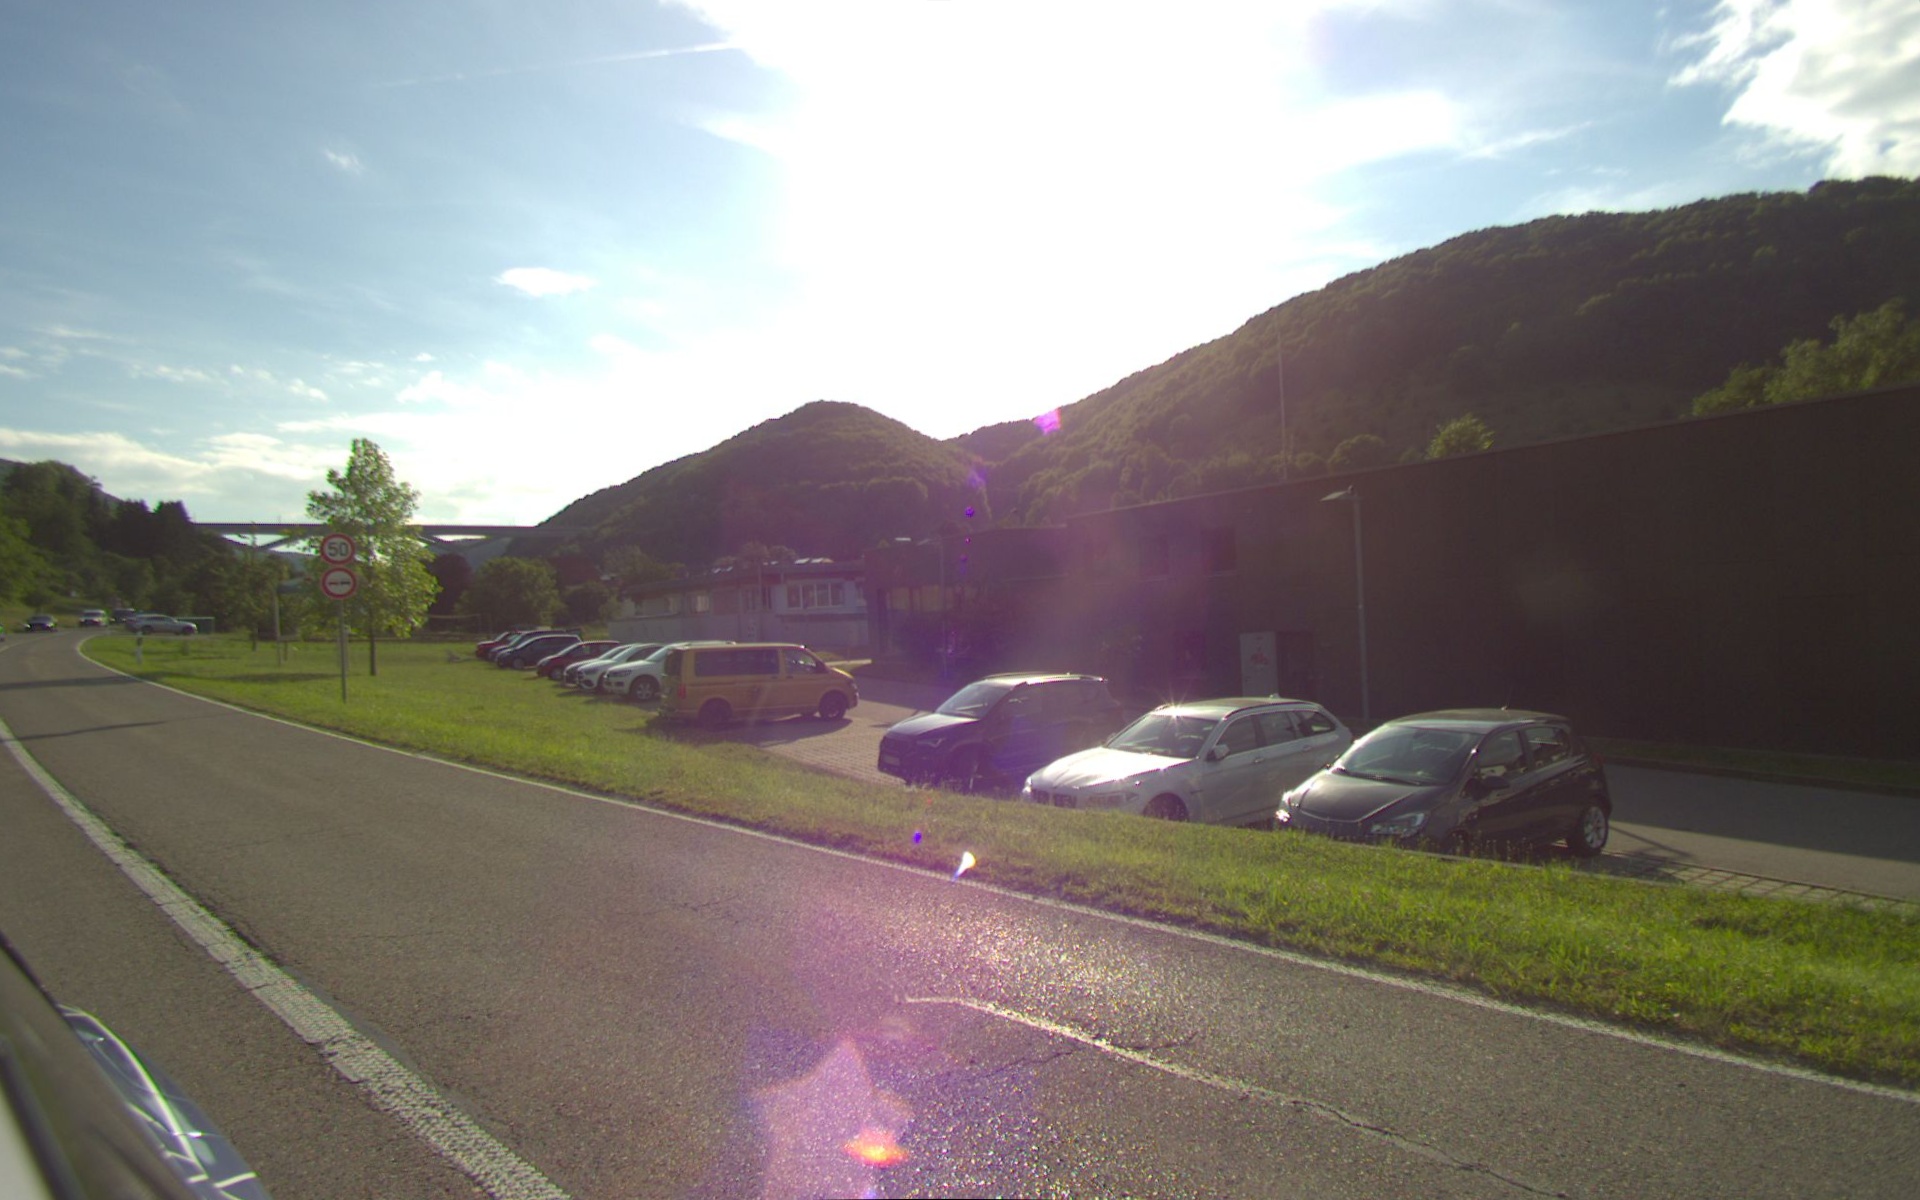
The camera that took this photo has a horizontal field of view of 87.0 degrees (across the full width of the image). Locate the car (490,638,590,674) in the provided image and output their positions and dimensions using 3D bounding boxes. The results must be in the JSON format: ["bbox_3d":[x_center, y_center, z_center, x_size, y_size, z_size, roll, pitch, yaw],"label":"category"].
[{"bbox_3d":[-20.954,2.773,50.515,4.371,1.595,2.006,-1,-1,-32],"label":"car"}]

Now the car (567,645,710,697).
[{"bbox_3d":[-11.047,2.397,34.807,4.371,1.599,2.006,0,-2,-30],"label":"car"}]

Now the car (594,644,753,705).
[{"bbox_3d":[-9.016,2.293,31.943,4.477,1.714,2.006,0,-2,-30],"label":"car"}]

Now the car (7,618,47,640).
[{"bbox_3d":[-77.862,2.428,84.499,1.882,1.698,4.010,0,-2,-34],"label":"car"}]

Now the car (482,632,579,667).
[{"bbox_3d":[-23.213,2.663,54.780,4.595,1.776,2.006,0,-2,-32],"label":"car"}]

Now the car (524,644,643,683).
[{"bbox_3d":[-15.575,2.586,41.909,4.370,1.463,2.006,0,-2,-30],"label":"car"}]

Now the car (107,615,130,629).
[{"bbox_3d":[-100.393,2.604,120.772,1.652,1.659,3.355,-1,-1,-33],"label":"car"}]

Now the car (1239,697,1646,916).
[{"bbox_3d":[4.924,1.888,10.236,3.932,1.546,1.839,0,-2,-31],"label":"car"}]

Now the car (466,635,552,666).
[{"bbox_3d":[-26.334,2.914,59.104,4.371,1.733,2.006,0,-2,-32],"label":"car"}]

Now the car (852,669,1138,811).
[{"bbox_3d":[0.616,2.088,16.130,4.226,1.650,1.917,-2,-1,-35],"label":"car"}]

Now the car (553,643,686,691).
[{"bbox_3d":[-12.683,2.455,37.769,4.371,1.595,2.006,0,-2,-32],"label":"car"}]

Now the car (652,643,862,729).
[{"bbox_3d":[-4.907,2.009,24.595,4.583,1.827,2.006,0,-2,-30],"label":"car"}]

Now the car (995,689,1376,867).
[{"bbox_3d":[2.840,1.985,12.335,4.577,1.508,1.918,1,-2,-35],"label":"car"}]

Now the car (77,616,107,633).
[{"bbox_3d":[-91.233,2.577,106.392,1.770,1.749,4.295,-1,-1,-32],"label":"car"}]

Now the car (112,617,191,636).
[{"bbox_3d":[-66.193,2.176,82.929,1.996,1.539,4.714,-2,-2,36],"label":"car"}]
